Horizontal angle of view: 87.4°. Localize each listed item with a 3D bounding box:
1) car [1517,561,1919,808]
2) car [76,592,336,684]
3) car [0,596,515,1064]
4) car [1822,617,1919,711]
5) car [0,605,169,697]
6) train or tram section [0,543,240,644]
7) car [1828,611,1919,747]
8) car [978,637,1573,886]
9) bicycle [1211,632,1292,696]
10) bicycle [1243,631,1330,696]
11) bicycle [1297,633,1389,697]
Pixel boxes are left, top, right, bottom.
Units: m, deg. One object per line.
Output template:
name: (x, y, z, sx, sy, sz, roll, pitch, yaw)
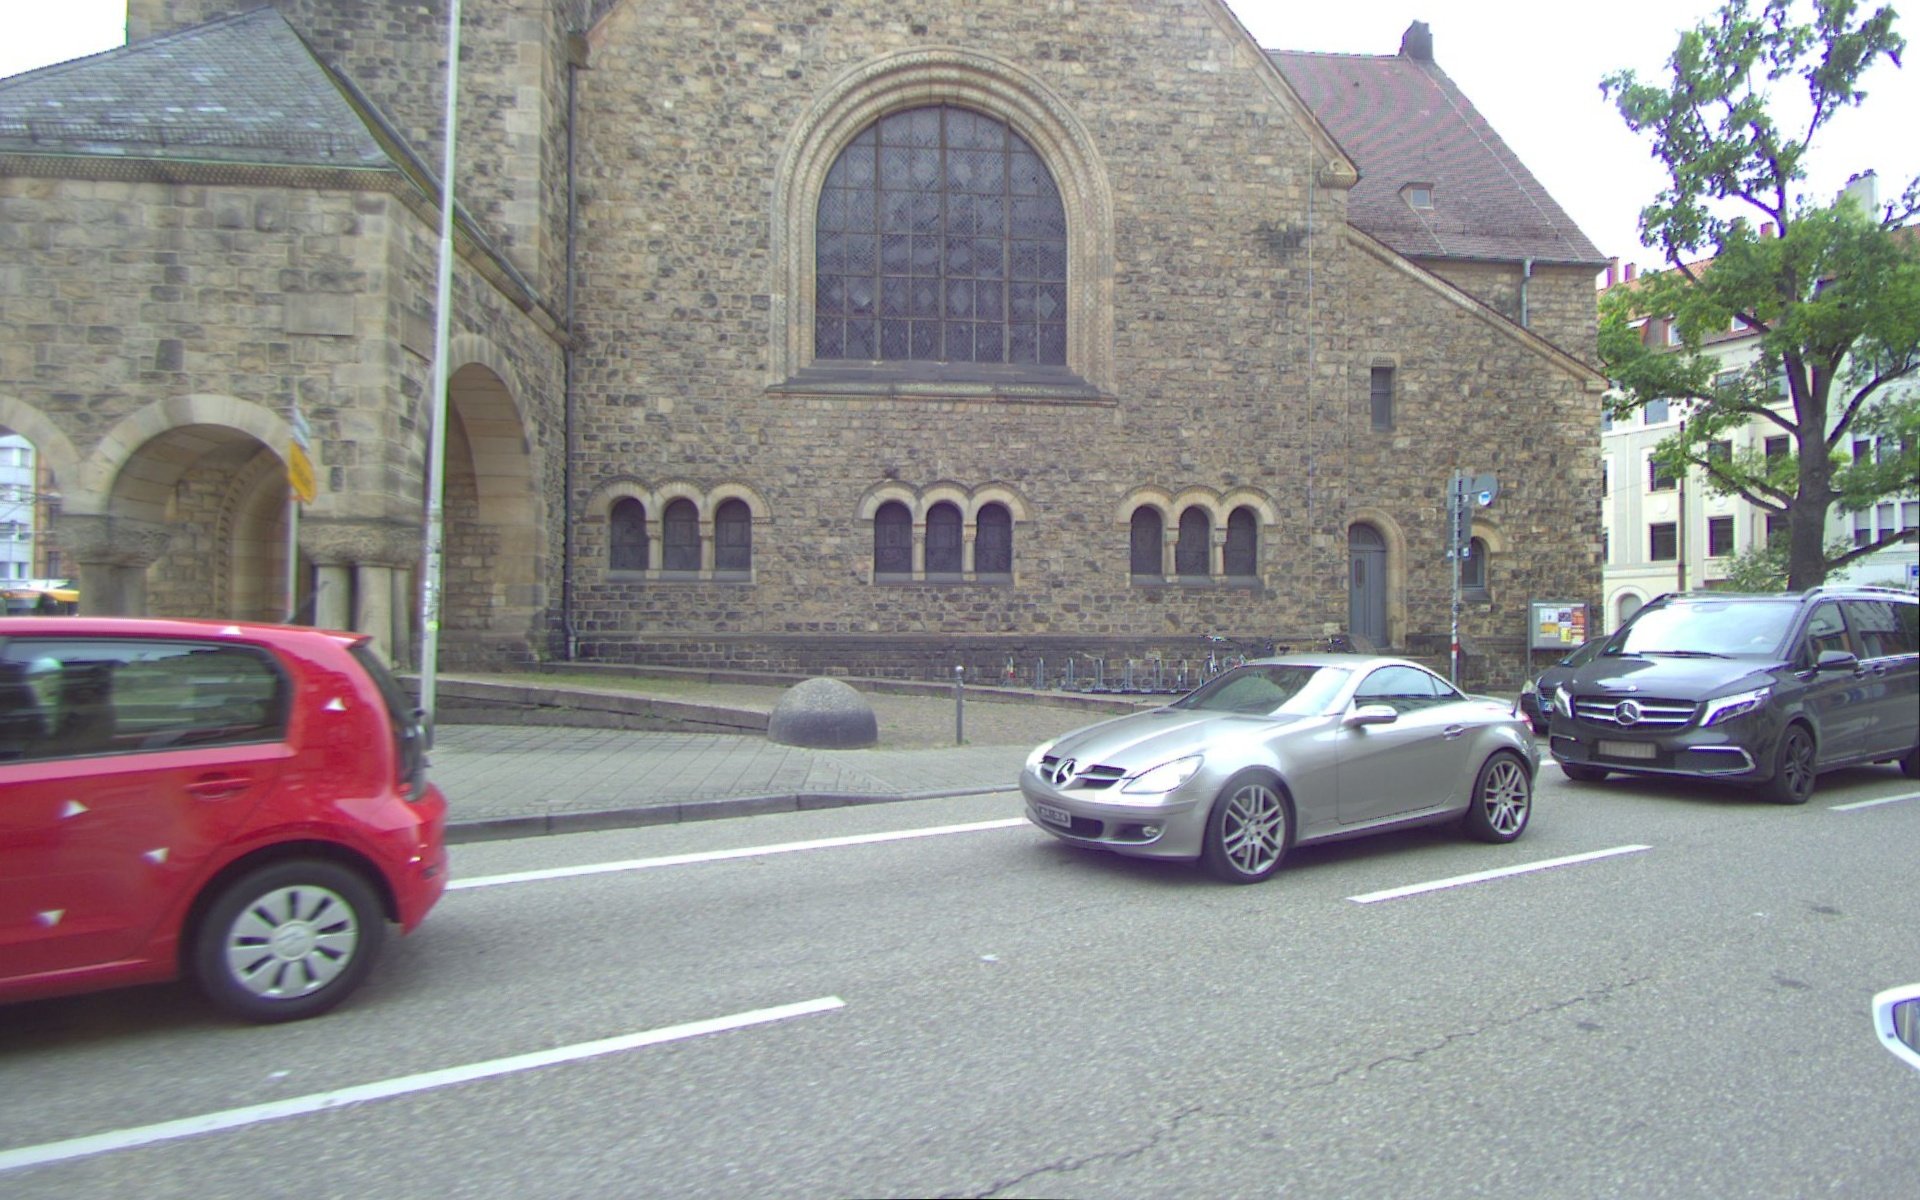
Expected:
car: (8.124, 0.733, 10.207, 5.220, 1.980, 1.903, 1, -1, -30)
car: (-17.389, 0.880, 23.342, 4.538, 1.906, 1.661, 2, -1, -5)
car: (-3.744, 0.755, 3.699, 3.676, 1.476, 1.594, 2, -4, -31)
car: (19.198, 1.216, 19.983, 4.381, 1.711, 1.834, 1, -1, -31)
car: (-18.475, 0.954, 19.766, 4.280, 1.657, 1.661, 2, -1, -5)
train or tram section: (-41.371, -0.205, 45.848, 3.558, 4.146, 19.941, 2, -2, -3)
car: (13.943, 1.029, 13.688, 4.494, 1.706, 1.836, 1, -1, -30)
car: (2.261, 0.953, 7.018, 3.993, 1.303, 1.698, 2, -4, -29)
bicycle: (5.629, 1.217, 19.526, 0.650, 1.145, 1.777, 1, -1, -17)
bicycle: (6.391, 1.225, 19.756, 0.730, 1.182, 1.777, 1, -1, -17)
bicycle: (7.419, 1.239, 19.541, 0.730, 1.167, 1.777, 1, -1, -17)
